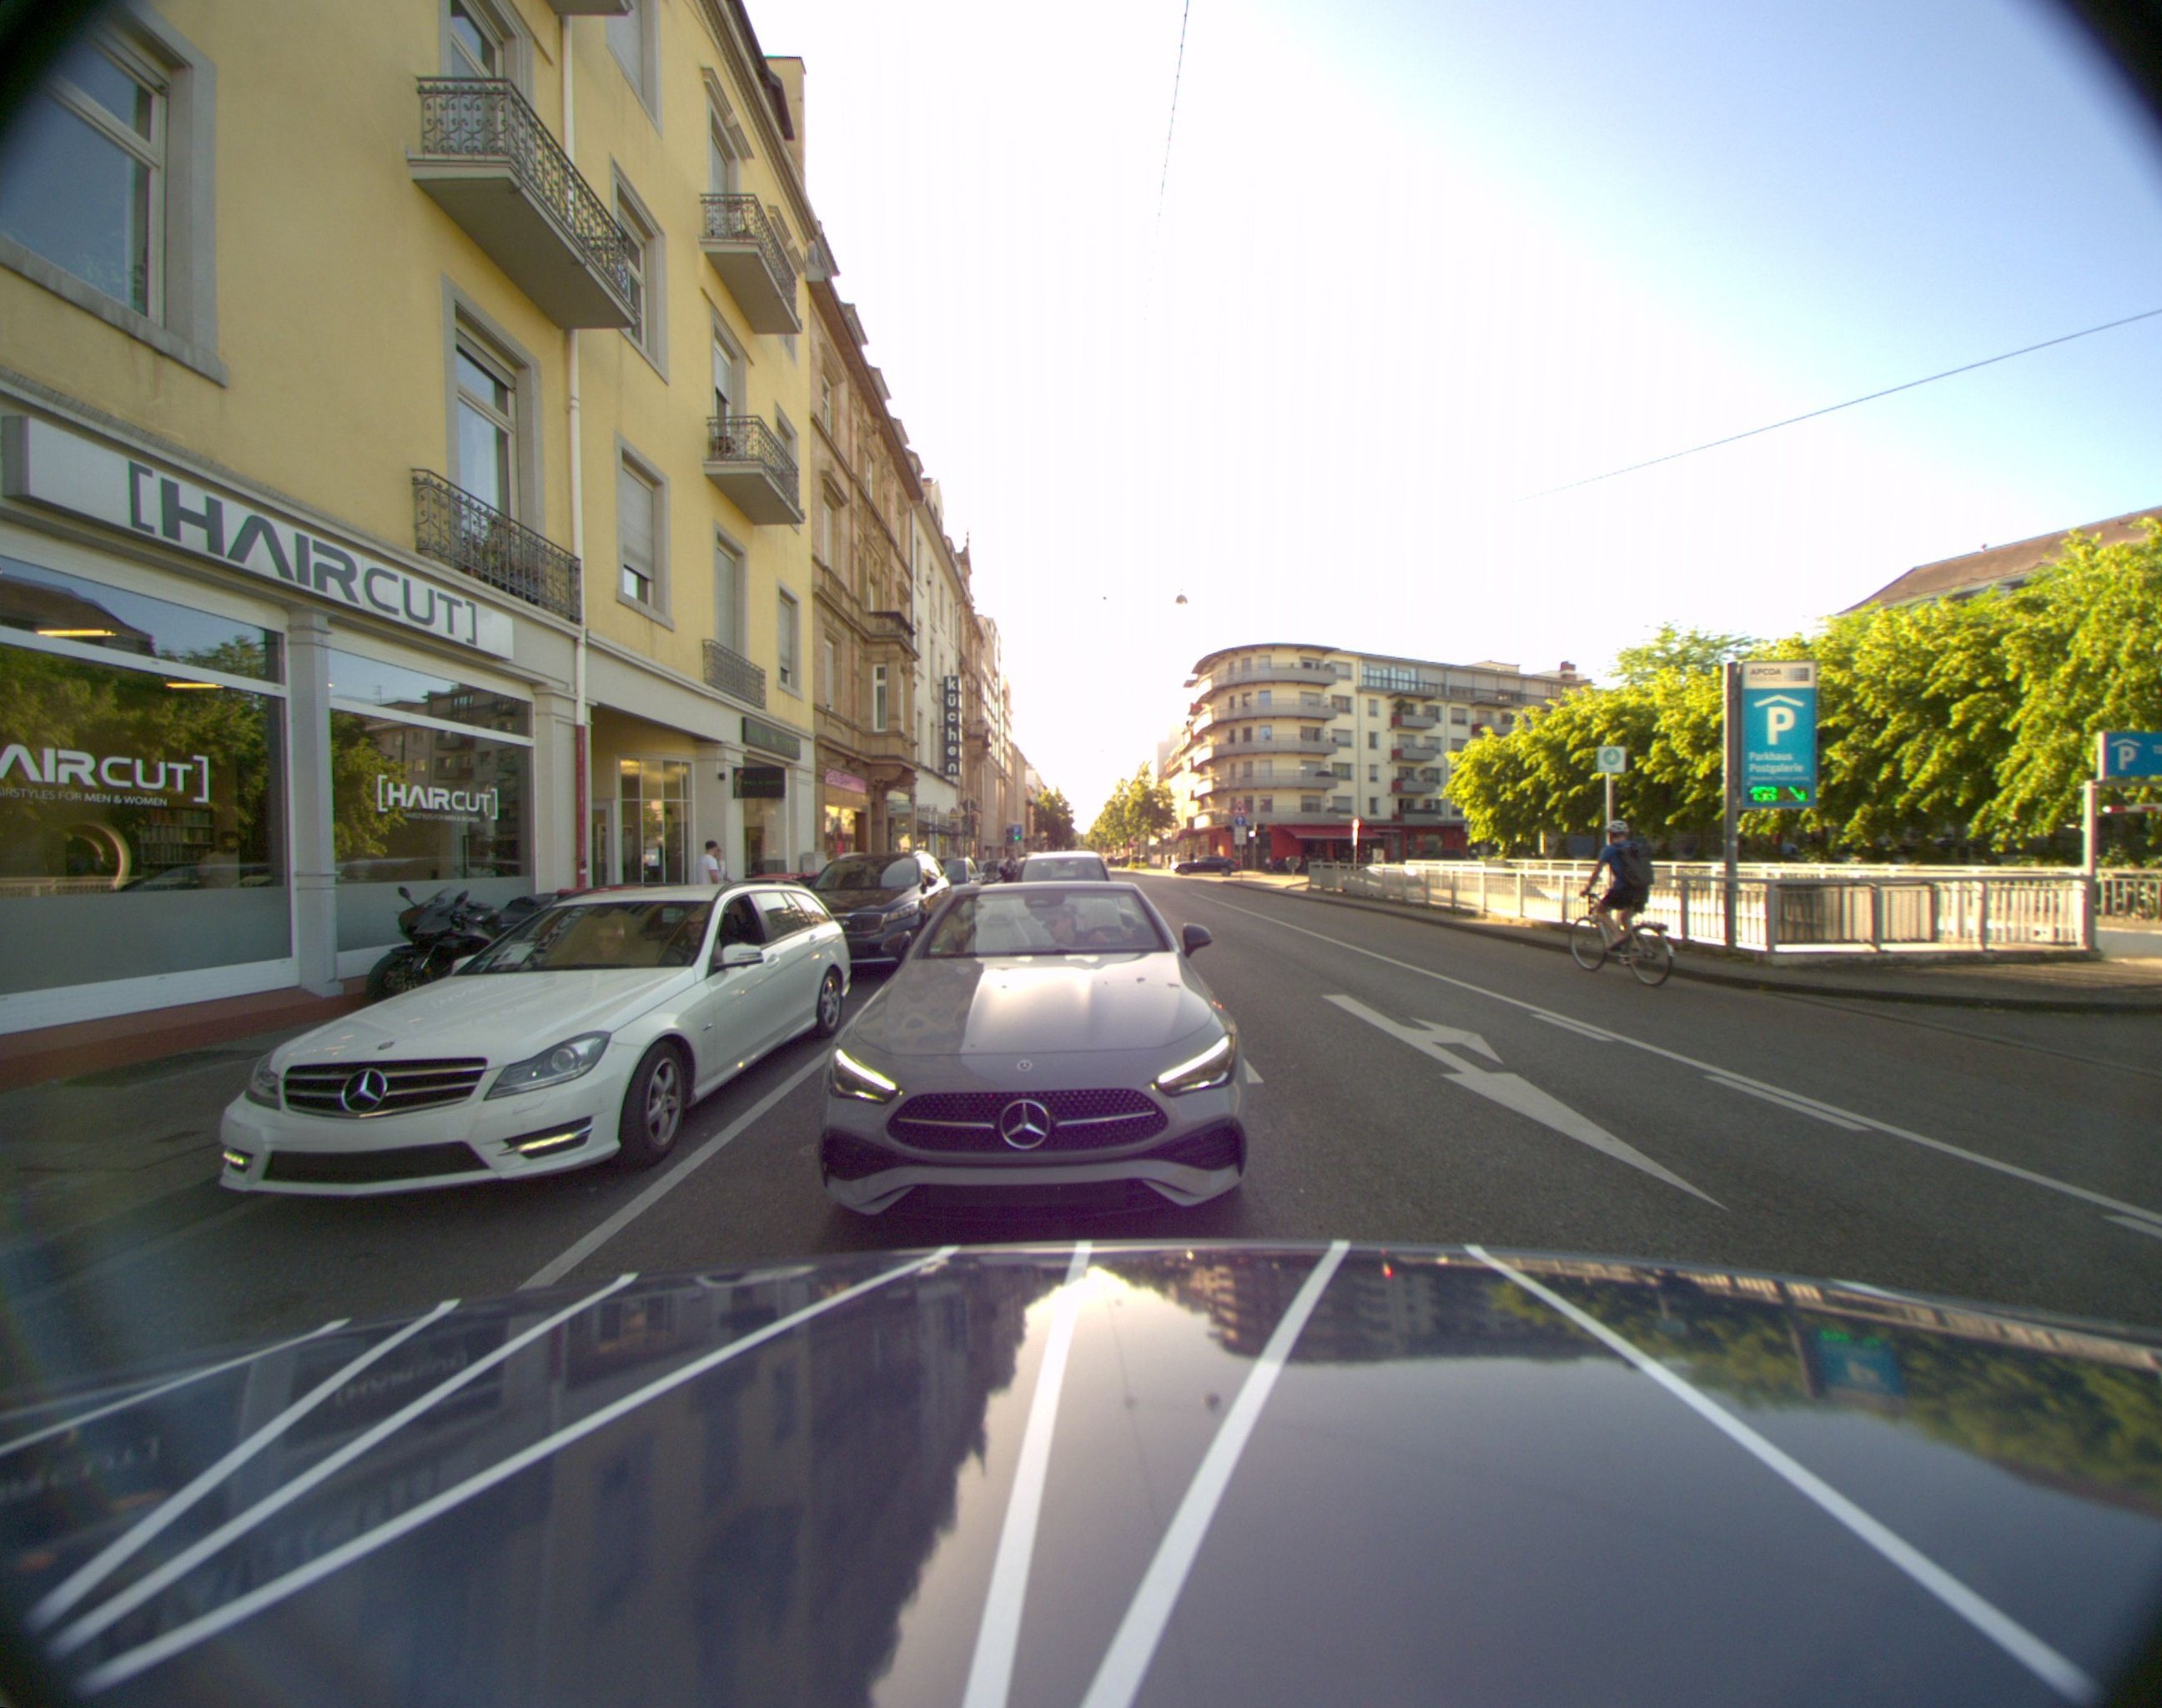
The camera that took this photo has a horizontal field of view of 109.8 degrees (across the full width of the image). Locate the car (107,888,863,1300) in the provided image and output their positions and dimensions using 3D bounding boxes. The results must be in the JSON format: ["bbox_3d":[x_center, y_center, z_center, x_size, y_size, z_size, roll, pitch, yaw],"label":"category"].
[{"bbox_3d":[-3.026,1.071,5.251,1.672,1.364,4.377,-2,1,1],"label":"car"}]

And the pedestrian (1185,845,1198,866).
[{"bbox_3d":[10.218,0.095,70.356,0.990,1.908,0.790,-2,1,-3],"label":"pedestrian"}]

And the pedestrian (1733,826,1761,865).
[{"bbox_3d":[32.322,-0.401,36.862,0.748,1.852,0.683,-2,1,-13],"label":"pedestrian"}]

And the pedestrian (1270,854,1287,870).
[{"bbox_3d":[15.428,0.648,59.385,0.937,1.191,0.832,-3,1,-24],"label":"pedestrian"}]

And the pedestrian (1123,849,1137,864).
[{"bbox_3d":[6.154,0.259,95.167,1.224,1.826,1.200,-3,1,-30],"label":"pedestrian"}]

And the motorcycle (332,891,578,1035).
[{"bbox_3d":[-6.255,1.022,7.792,0.735,1.124,2.109,2,1,1],"label":"motorcycle"}]

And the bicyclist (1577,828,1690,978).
[{"bbox_3d":[6.580,0.560,9.098,0.703,1.700,0.810,1,1,1],"label":"bicyclist"}]

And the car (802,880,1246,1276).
[{"bbox_3d":[-0.281,0.996,5.362,1.769,1.360,4.471,-2,1,-2],"label":"car"}]

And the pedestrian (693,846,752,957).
[{"bbox_3d":[-6.148,0.793,13.064,0.630,1.826,0.770,-2,1,-7],"label":"pedestrian"}]

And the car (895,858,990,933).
[{"bbox_3d":[-3.182,0.904,17.993,1.583,1.514,2.998,-2,1,1],"label":"car"}]

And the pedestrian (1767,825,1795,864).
[{"bbox_3d":[33.580,-0.435,36.452,0.748,1.832,0.683,-2,1,-13],"label":"pedestrian"}]

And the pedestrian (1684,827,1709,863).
[{"bbox_3d":[31.819,-0.469,39.263,0.748,1.832,0.683,-3,1,-21],"label":"pedestrian"}]

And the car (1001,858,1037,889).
[{"bbox_3d":[-2.955,0.897,36.685,1.461,1.310,3.362,-2,1,-1],"label":"car"}]

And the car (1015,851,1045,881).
[{"bbox_3d":[-3.153,0.713,47.551,1.695,1.670,3.880,-2,1,-3],"label":"car"}]

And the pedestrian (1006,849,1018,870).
[{"bbox_3d":[-5.997,0.500,66.078,0.826,1.750,0.823,-2,1,-1],"label":"pedestrian"}]

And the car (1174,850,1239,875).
[{"bbox_3d":[8.652,0.569,52.423,4.242,1.521,1.678,-2,1,14],"label":"car"}]

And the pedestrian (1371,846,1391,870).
[{"bbox_3d":[21.223,0.274,53.803,1.270,1.656,1.141,-2,1,21],"label":"pedestrian"}]

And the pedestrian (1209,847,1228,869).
[{"bbox_3d":[11.205,0.326,61.941,1.063,1.739,0.960,-3,1,-30],"label":"pedestrian"}]

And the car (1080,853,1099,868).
[{"bbox_3d":[0.853,0.654,78.479,1.695,1.437,3.575,-2,1,-3],"label":"car"}]

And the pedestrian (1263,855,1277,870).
[{"bbox_3d":[14.921,0.661,60.043,0.780,1.191,0.884,-2,1,-10],"label":"pedestrian"}]

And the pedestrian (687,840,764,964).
[{"bbox_3d":[-5.628,0.727,12.033,0.975,1.866,0.534,-3,1,-31],"label":"pedestrian"}]

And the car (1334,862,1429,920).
[{"bbox_3d":[10.236,1.204,26.185,1.638,1.522,3.904,-2,4,-2],"label":"car"}]

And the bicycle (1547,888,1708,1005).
[{"bbox_3d":[6.559,1.053,9.267,0.617,1.156,1.958,1,1,3],"label":"bicycle"}]

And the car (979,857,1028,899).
[{"bbox_3d":[-3.027,0.900,30.316,1.695,1.482,3.796,-2,1,-3],"label":"car"}]

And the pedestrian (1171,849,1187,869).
[{"bbox_3d":[8.492,0.399,65.781,1.069,1.709,1.080,-2,1,-7],"label":"pedestrian"}]

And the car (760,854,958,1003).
[{"bbox_3d":[-3.013,0.888,11.342,1.806,1.680,4.408,-2,1,-3],"label":"car"}]

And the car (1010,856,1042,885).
[{"bbox_3d":[-2.943,0.863,40.953,1.461,1.391,3.362,-2,1,-1],"label":"car"}]

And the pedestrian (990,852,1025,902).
[{"bbox_3d":[-2.578,0.799,26.661,0.835,1.709,0.821,-1,2,41],"label":"pedestrian"}]

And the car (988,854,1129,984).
[{"bbox_3d":[-0.365,0.892,12.761,1.866,1.658,4.706,-2,1,-2],"label":"car"}]

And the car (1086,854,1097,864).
[{"bbox_3d":[1.908,0.882,136.074,1.836,1.831,3.886,1,1,-2],"label":"car"}]

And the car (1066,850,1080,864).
[{"bbox_3d":[-0.986,0.327,91.779,1.695,1.635,3.599,-2,1,-1],"label":"car"}]

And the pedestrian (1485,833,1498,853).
[{"bbox_3d":[38.359,-1.004,71.023,0.747,1.832,0.684,-2,1,1],"label":"pedestrian"}]
